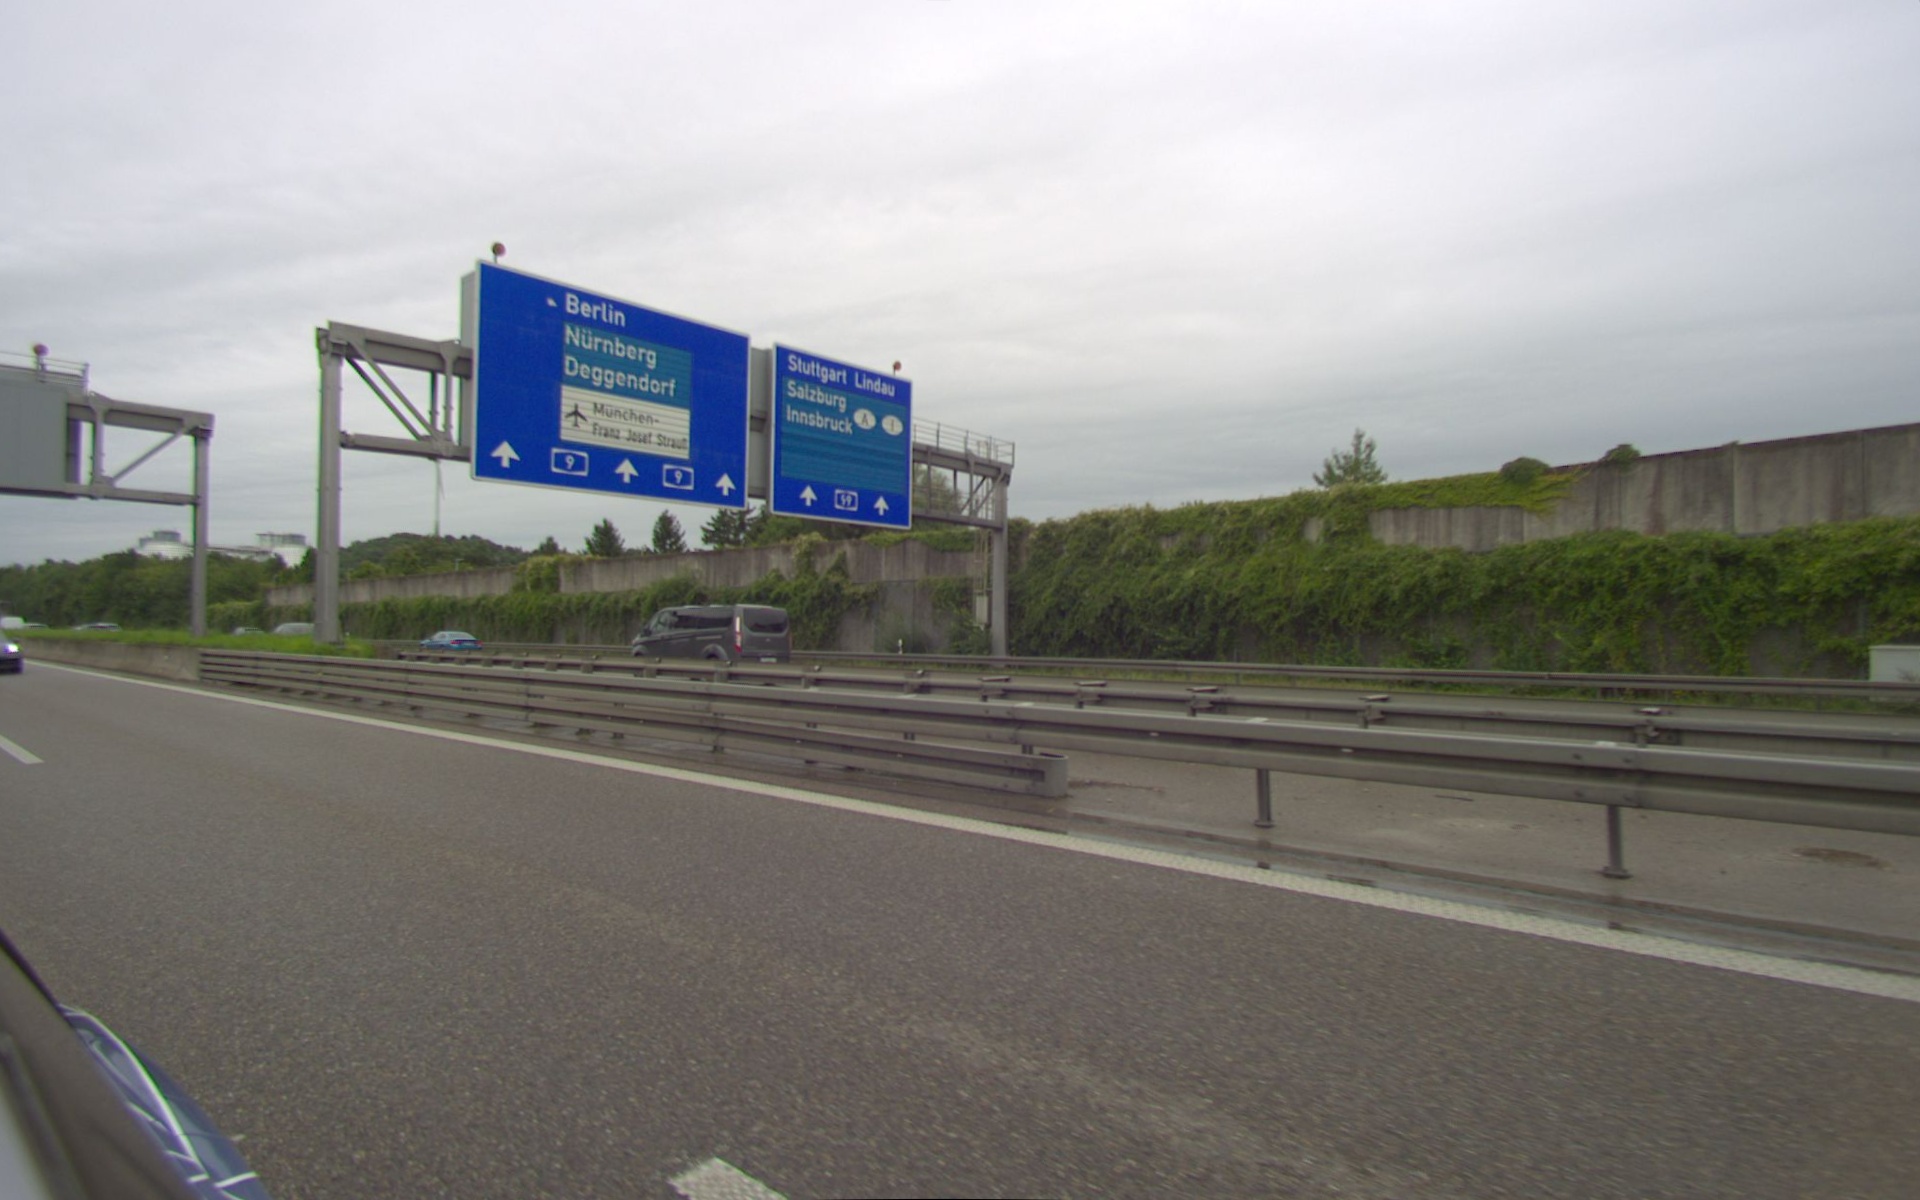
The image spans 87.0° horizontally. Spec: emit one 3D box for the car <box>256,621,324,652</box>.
[{"bbox_3d":[-32.442,1.756,48.979,4.234,1.376,1.687,-1,0,41],"label":"car"}]

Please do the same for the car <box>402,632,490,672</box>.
[{"bbox_3d":[-27.456,2.717,53.988,5.751,1.888,2.186,-1,0,41],"label":"car"}]

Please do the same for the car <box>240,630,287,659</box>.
[{"bbox_3d":[-53.193,3.358,77.215,4.222,2.029,1.973,-1,0,41],"label":"car"}]

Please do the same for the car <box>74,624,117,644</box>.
[{"bbox_3d":[-71.306,2.752,83.459,4.932,1.465,1.973,1,0,41],"label":"car"}]

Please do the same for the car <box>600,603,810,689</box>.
[{"bbox_3d":[-6.853,1.124,26.688,6.267,1.987,2.186,-1,0,41],"label":"car"}]

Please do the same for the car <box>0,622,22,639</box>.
[{"bbox_3d":[-116.999,3.699,124.211,6.531,1.926,2.104,-1,0,42],"label":"car"}]

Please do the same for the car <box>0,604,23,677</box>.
[{"bbox_3d":[-28.530,1.166,29.248,3.850,2.029,1.703,-1,0,41],"label":"car"}]
